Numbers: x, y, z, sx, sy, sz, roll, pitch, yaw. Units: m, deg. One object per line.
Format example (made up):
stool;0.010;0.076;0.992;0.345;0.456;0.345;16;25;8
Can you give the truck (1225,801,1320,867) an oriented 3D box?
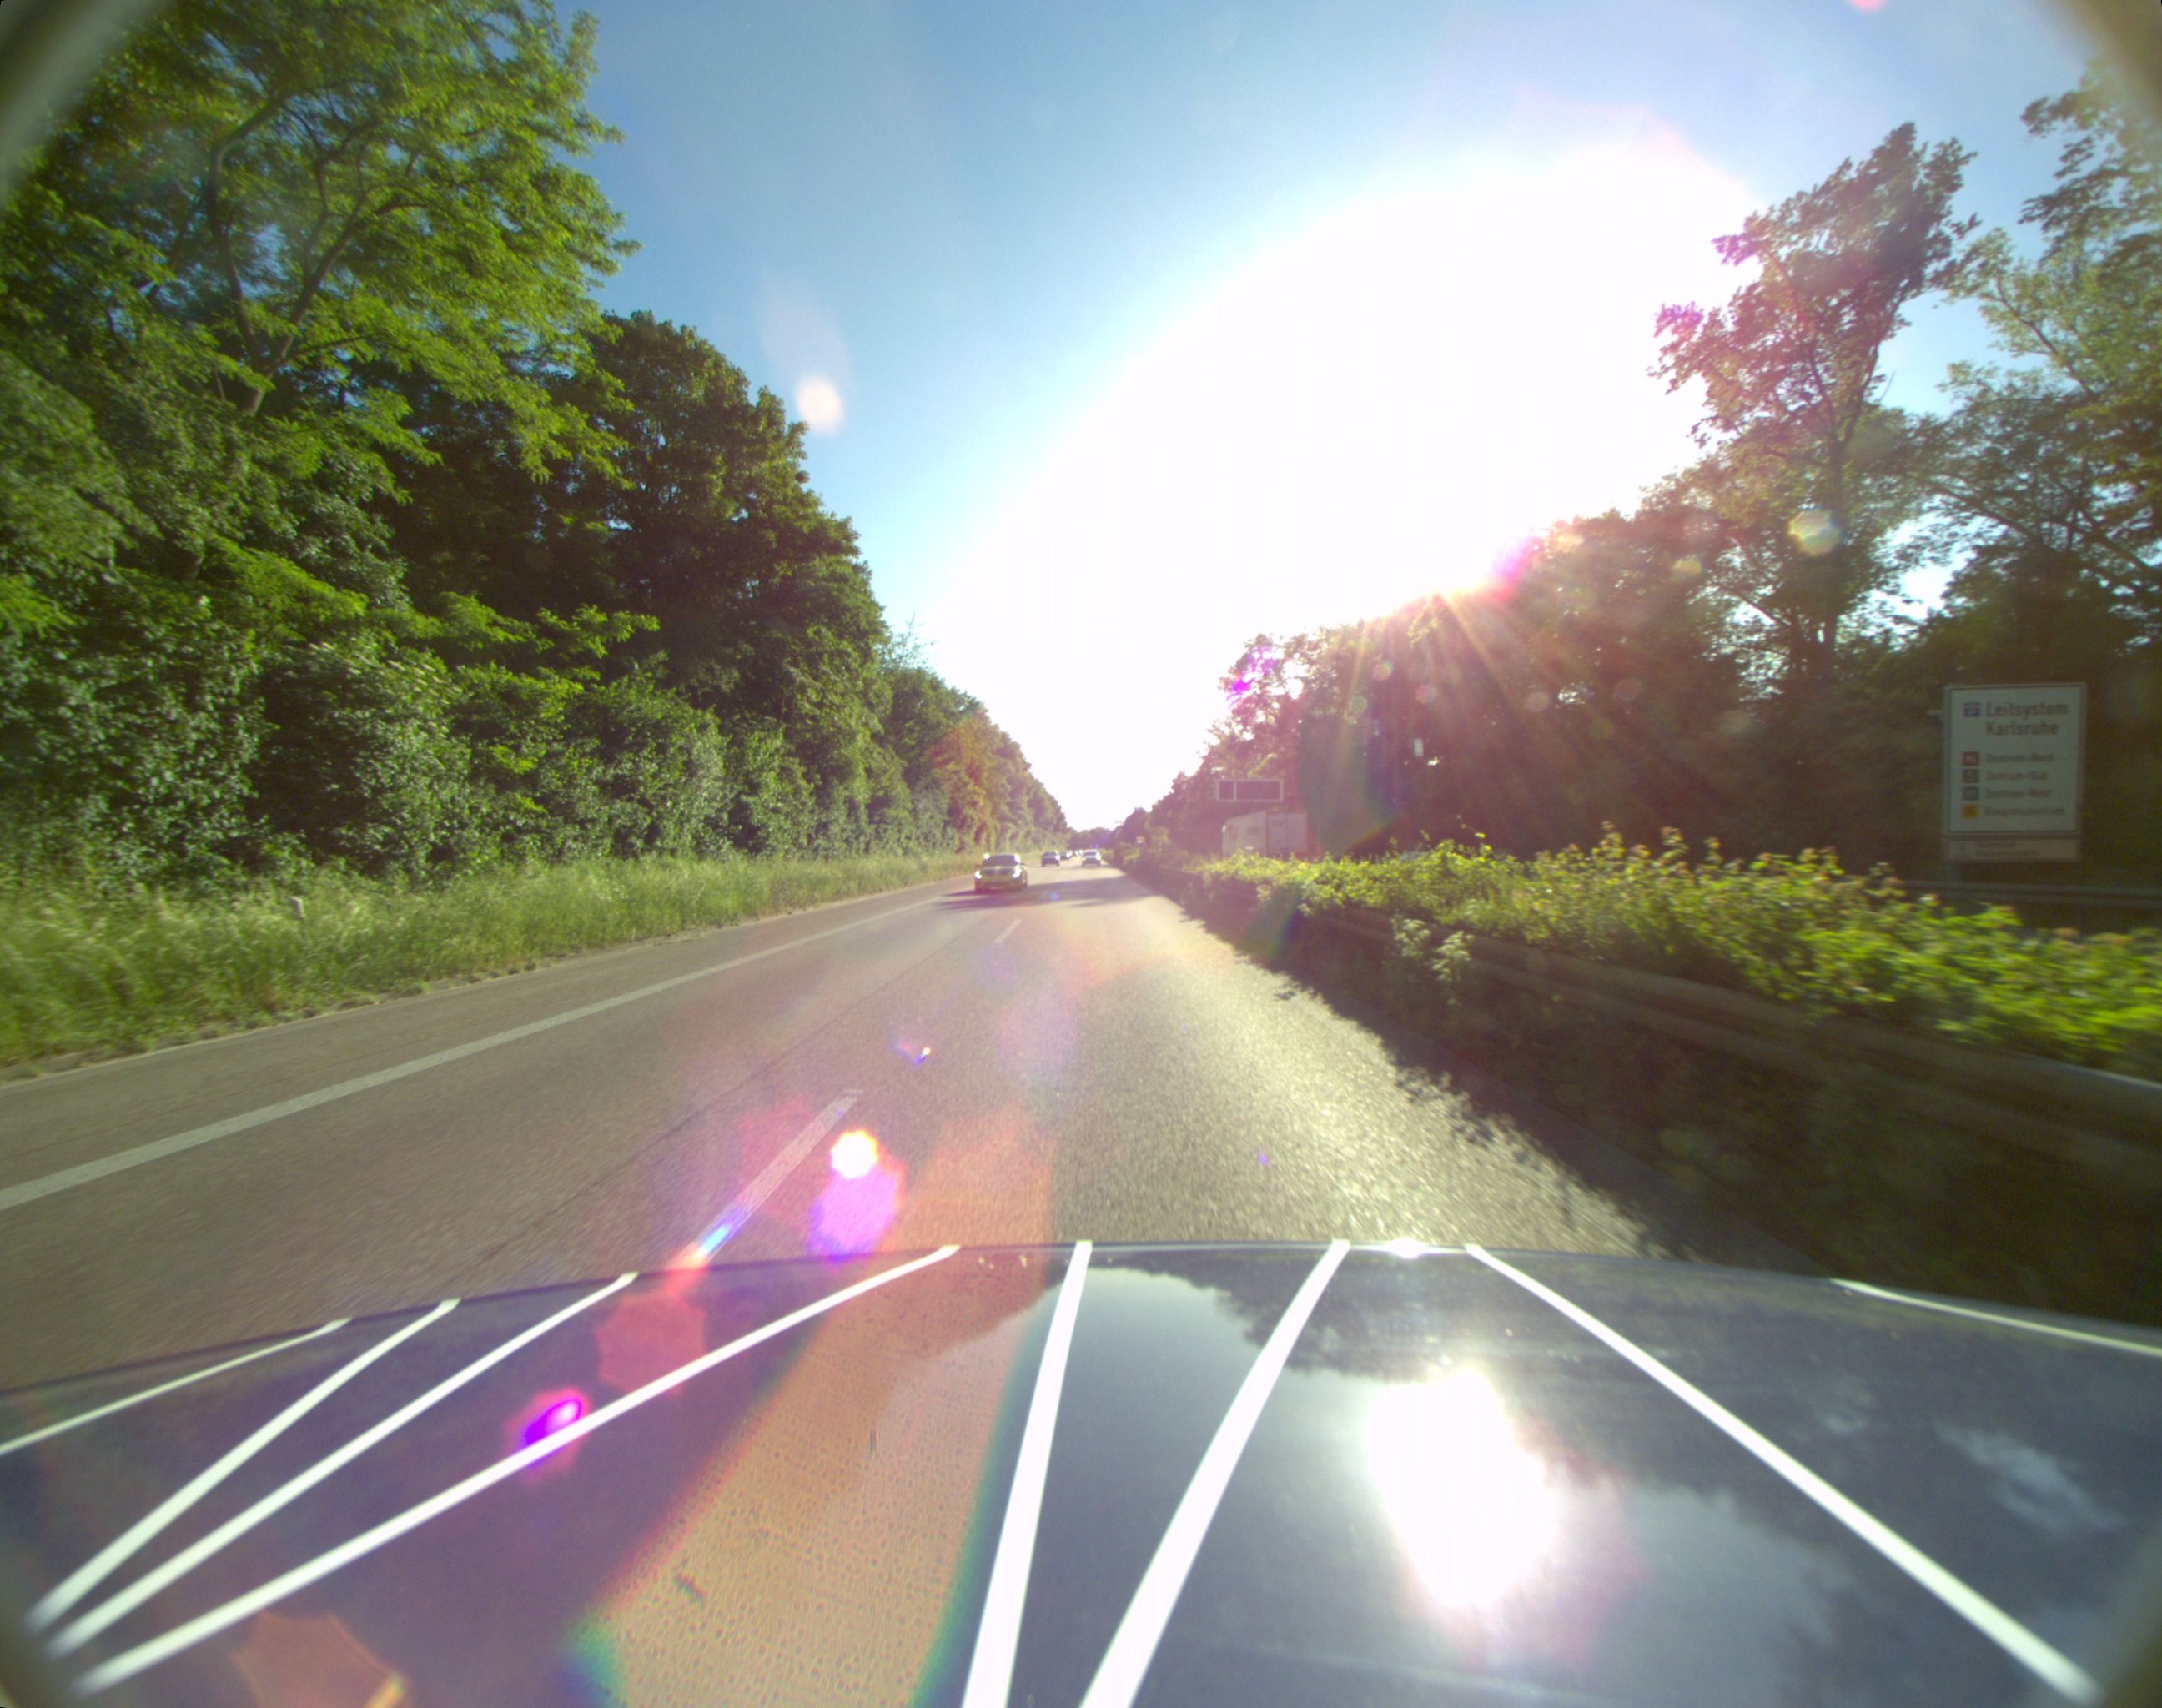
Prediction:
truck;13.274;-1.319;54.472;3.251;3.989;14.449;-2;1;1

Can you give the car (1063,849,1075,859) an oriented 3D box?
car;-1.903;0.014;121.679;1.794;1.440;3.877;-2;0;0

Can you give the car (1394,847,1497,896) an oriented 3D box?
car;12.509;0.551;26.351;1.768;1.464;3.791;-2;1;1

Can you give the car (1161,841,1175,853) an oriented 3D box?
car;13.832;-1.092;121.368;1.721;1.800;4.525;-2;1;1

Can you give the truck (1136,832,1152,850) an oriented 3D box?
truck;14.409;-2.902;173.964;2.776;3.933;11.465;-2;1;1

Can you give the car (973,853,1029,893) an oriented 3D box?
car;-3.126;0.704;30.520;1.794;1.440;3.877;-2;0;0

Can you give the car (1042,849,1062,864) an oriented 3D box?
car;-2.943;0.238;77.334;1.794;1.440;3.877;-2;0;0

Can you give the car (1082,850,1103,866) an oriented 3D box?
car;1.102;0.377;72.035;1.890;1.440;4.254;-2;0;1

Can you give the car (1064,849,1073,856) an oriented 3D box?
car;-2.462;-0.314;149.275;1.794;1.440;3.877;-2;0;0

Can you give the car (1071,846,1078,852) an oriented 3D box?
car;-1.730;-1.224;199.174;1.794;1.440;3.877;-2;0;0

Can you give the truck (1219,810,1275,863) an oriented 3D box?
truck;13.373;-1.387;61.536;3.236;3.990;5.676;-2;1;1
